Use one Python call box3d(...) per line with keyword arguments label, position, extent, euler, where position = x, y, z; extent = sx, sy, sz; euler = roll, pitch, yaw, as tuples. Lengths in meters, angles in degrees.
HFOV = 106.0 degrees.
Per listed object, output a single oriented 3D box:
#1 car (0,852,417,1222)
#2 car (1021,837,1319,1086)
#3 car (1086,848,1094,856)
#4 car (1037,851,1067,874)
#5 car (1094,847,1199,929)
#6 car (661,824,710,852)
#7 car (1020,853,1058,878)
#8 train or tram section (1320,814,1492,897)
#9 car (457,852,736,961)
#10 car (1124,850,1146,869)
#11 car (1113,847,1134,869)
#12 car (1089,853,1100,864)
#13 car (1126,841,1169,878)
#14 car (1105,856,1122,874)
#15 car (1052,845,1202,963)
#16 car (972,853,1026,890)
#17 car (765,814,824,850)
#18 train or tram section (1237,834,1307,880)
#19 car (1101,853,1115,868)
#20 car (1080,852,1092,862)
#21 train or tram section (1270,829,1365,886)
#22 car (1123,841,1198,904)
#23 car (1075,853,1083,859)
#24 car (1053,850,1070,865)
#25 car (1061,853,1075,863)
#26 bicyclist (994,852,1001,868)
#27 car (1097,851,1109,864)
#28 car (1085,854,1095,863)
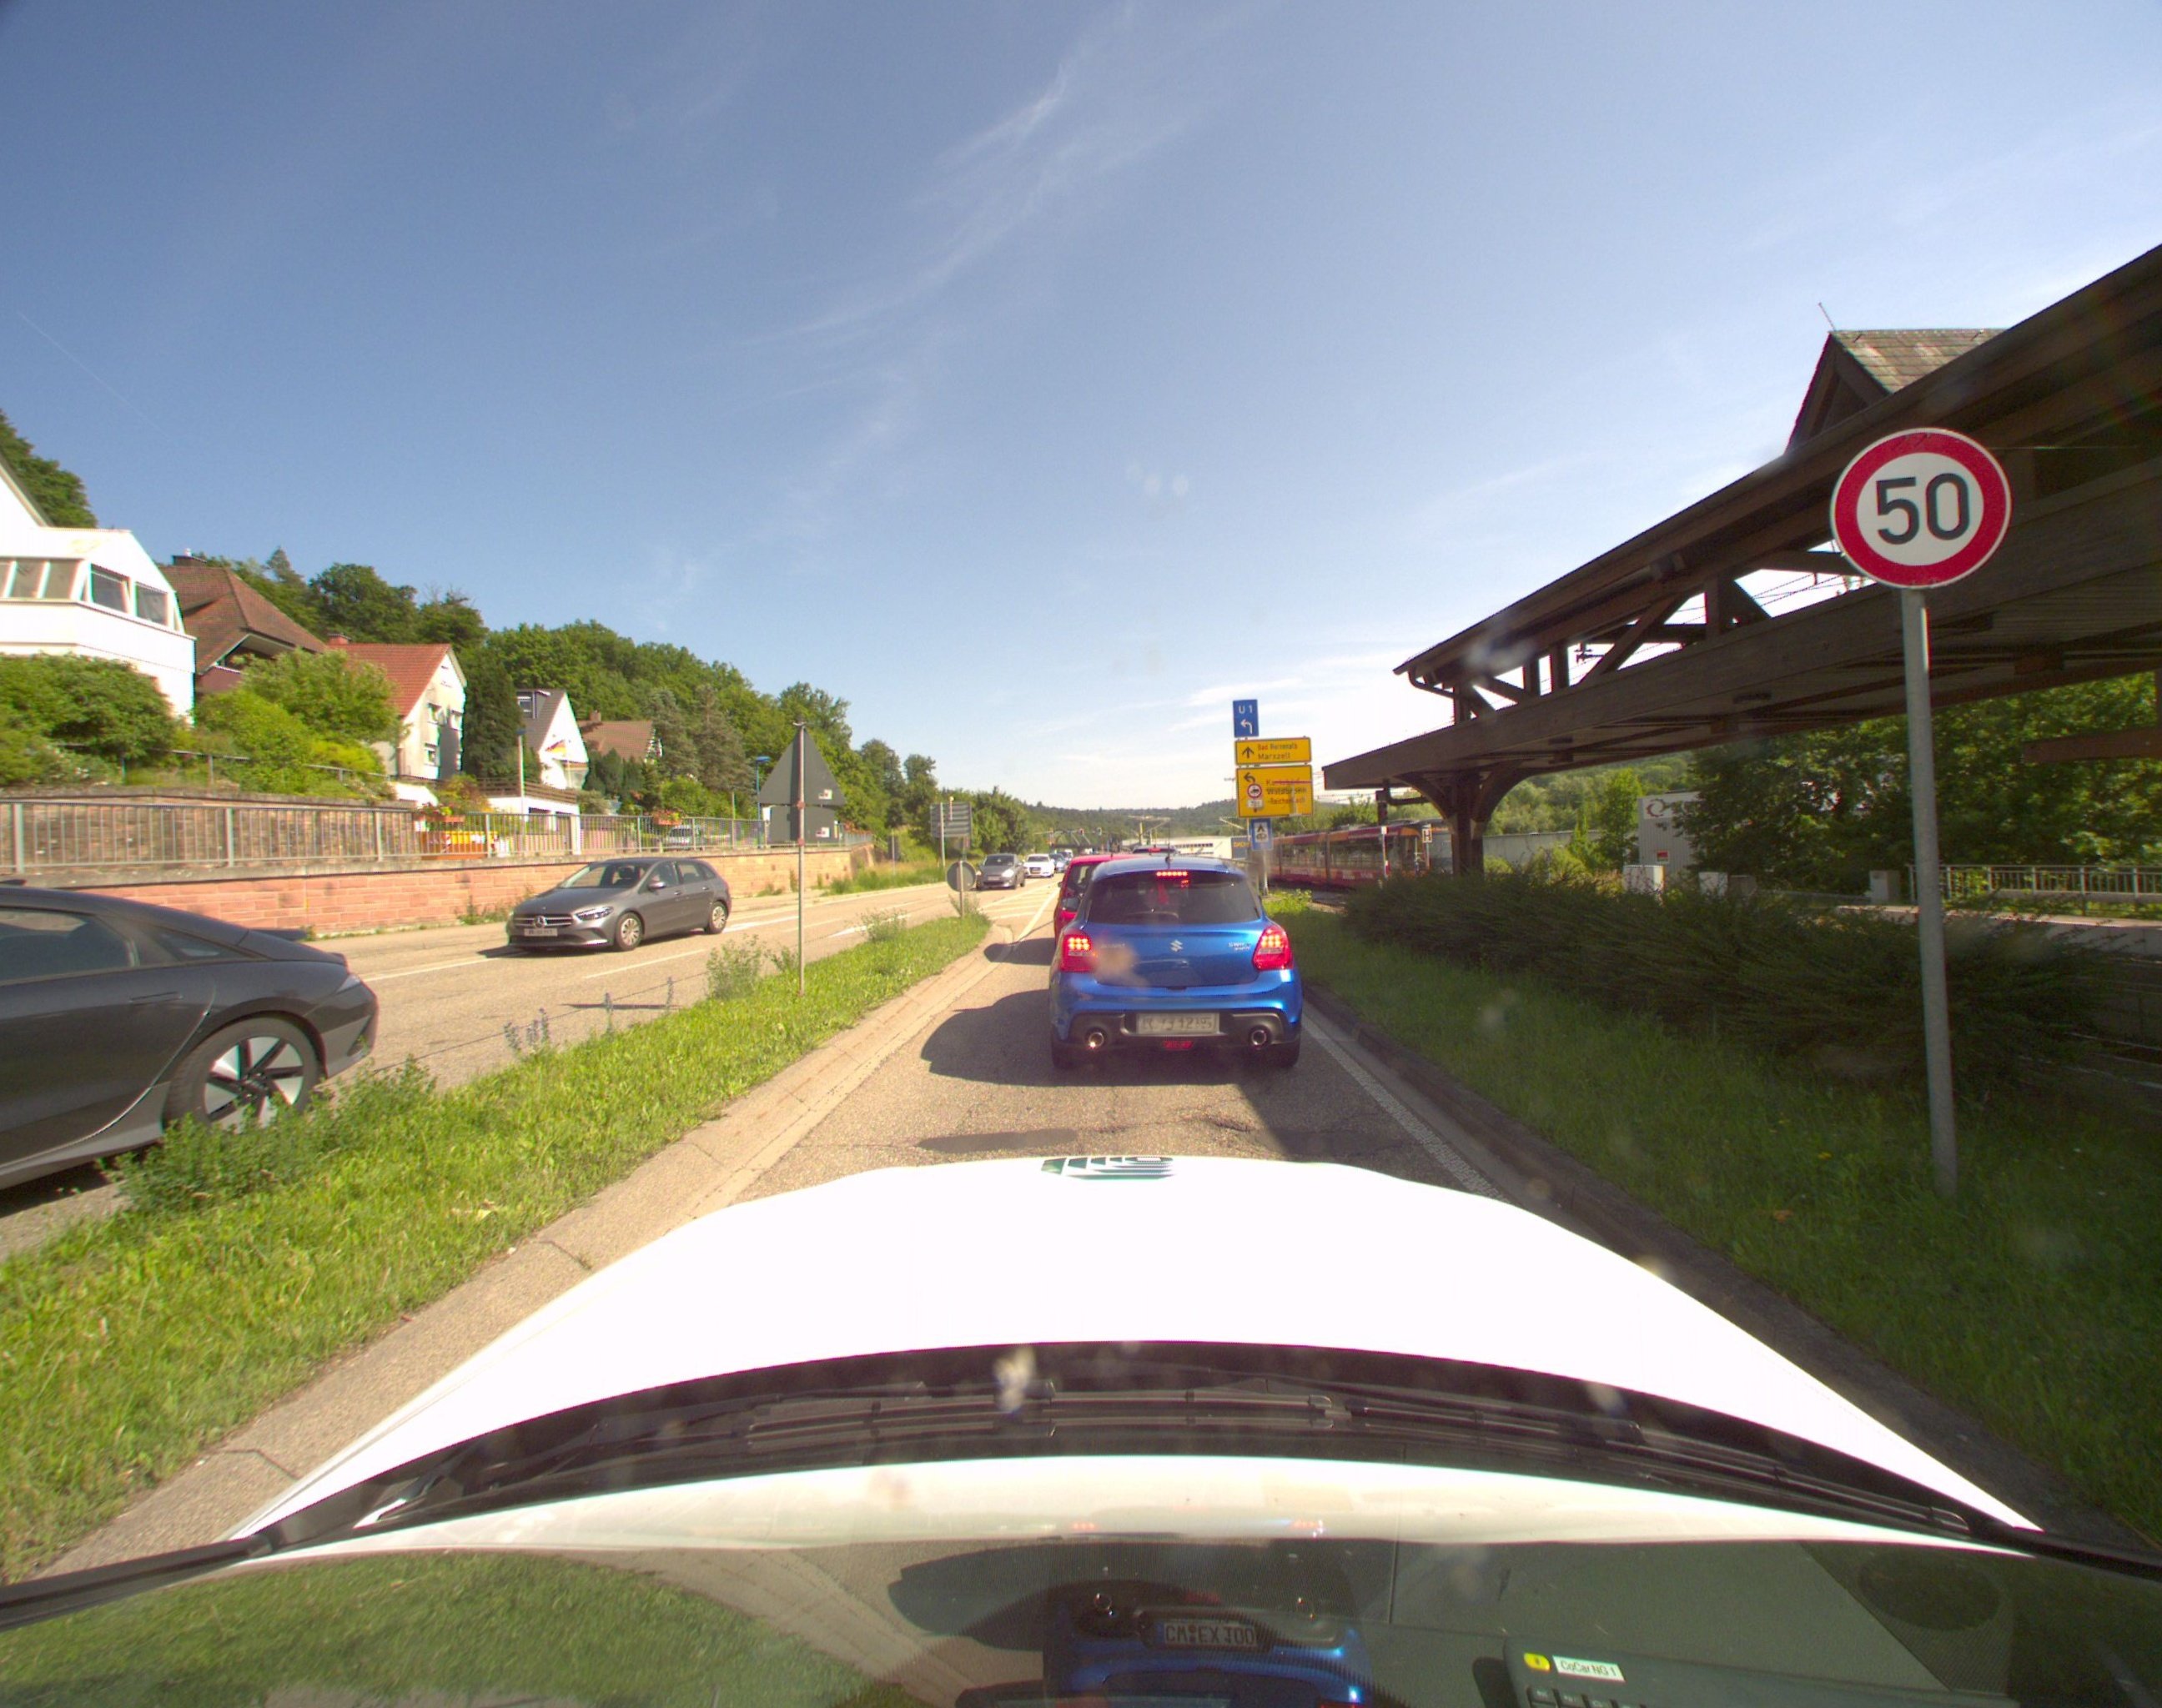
box3d(label="car", position=(-5.216, 0.748, 2.901), extent=(1.785, 1.470, 4.716), euler=(-1, 0, 0))
box3d(label="car", position=(0.605, 0.672, 7.150), extent=(1.862, 1.548, 4.001), euler=(-1, 0, 1))
box3d(label="car", position=(2.192, -0.468, 204.434), extent=(1.986, 2.144, 4.722), euler=(0, 0, 2))
box3d(label="car", position=(-2.115, 0.615, 60.529), extent=(1.825, 1.468, 3.815), euler=(1, 2, 3))
box3d(label="car", position=(1.401, 0.639, 18.078), extent=(1.985, 1.531, 4.606), euler=(-2, 0, 3))
box3d(label="car", position=(-24.471, -0.978, 50.493), extent=(1.898, 1.629, 3.981), euler=(-1, 0, -14))
box3d(label="car", position=(-2.487, 0.674, 49.063), extent=(1.825, 1.369, 3.953), euler=(0, 1, 3))
box3d(label="train or tram section", position=(15.559, 0.050, 40.875), extent=(2.847, 3.365, 14.351), euler=(-1, 0, 0))
box3d(label="car", position=(-8.178, 0.781, 14.372), extent=(1.985, 1.564, 4.514), euler=(-1, 0, 4))
box3d(label="car", position=(4.552, 0.418, 68.676), extent=(1.824, 1.493, 3.815), euler=(1, 1, 4))
box3d(label="car", position=(4.234, 0.370, 80.882), extent=(1.986, 2.013, 4.002), euler=(0, 1, 2))
box3d(label="car", position=(2.741, 0.867, 162.844), extent=(1.986, 2.013, 4.002), euler=(0, 1, 2))
box3d(label="car", position=(3.215, 0.250, 40.029), extent=(1.985, 1.736, 4.004), euler=(0, 0, 3))
box3d(label="car", position=(3.861, 1.321, 97.645), extent=(1.986, 2.013, 4.002), euler=(0, 1, 2))
box3d(label="car", position=(0.732, 0.667, 12.821), extent=(1.985, 1.571, 4.004), euler=(0, 0, 3))
box3d(label="car", position=(-3.398, 0.697, 34.266), extent=(1.665, 1.441, 3.843), euler=(-1, 0, 3))
box3d(label="car", position=(-16.113, -1.243, 46.120), extent=(2.017, 1.920, 4.724), euler=(0, 1, -5))
box3d(label="train or tram section", position=(15.207, 0.134, 65.850), extent=(2.747, 3.364, 12.046), euler=(0, 1, 0))
box3d(label="car", position=(3.885, 0.868, 117.821), extent=(1.986, 2.013, 4.002), euler=(0, 1, 2))
box3d(label="car", position=(0.805, 0.505, 140.386), extent=(1.986, 1.783, 4.002), euler=(0, 0, 2))
box3d(label="train or tram section", position=(15.325, 0.232, 53.884), extent=(2.777, 3.364, 12.045), euler=(0, 0, 0))
box3d(label="car", position=(2.280, 0.481, 24.146), extent=(1.985, 1.686, 4.501), euler=(0, 0, 3))
box3d(label="car", position=(-0.583, 0.474, 242.459), extent=(1.986, 1.739, 4.002), euler=(0, 1, 2))
box3d(label="car", position=(-2.430, 0.420, 102.005), extent=(1.825, 1.713, 3.814), euler=(0, 1, 3))
box3d(label="car", position=(-1.877, 0.556, 117.929), extent=(1.826, 1.431, 3.812), euler=(0, 1, 1))
box3d(label="bicyclist", position=(-7.827, 0.547, 76.400), extent=(0.627, 1.507, 0.506), euler=(0, 1, -2))
box3d(label="car", position=(3.752, 0.594, 137.916), extent=(1.986, 2.013, 4.002), euler=(0, 1, 2))
box3d(label="car", position=(2.060, 1.048, 184.575), extent=(1.986, 1.816, 4.002), euler=(0, 1, 2))
